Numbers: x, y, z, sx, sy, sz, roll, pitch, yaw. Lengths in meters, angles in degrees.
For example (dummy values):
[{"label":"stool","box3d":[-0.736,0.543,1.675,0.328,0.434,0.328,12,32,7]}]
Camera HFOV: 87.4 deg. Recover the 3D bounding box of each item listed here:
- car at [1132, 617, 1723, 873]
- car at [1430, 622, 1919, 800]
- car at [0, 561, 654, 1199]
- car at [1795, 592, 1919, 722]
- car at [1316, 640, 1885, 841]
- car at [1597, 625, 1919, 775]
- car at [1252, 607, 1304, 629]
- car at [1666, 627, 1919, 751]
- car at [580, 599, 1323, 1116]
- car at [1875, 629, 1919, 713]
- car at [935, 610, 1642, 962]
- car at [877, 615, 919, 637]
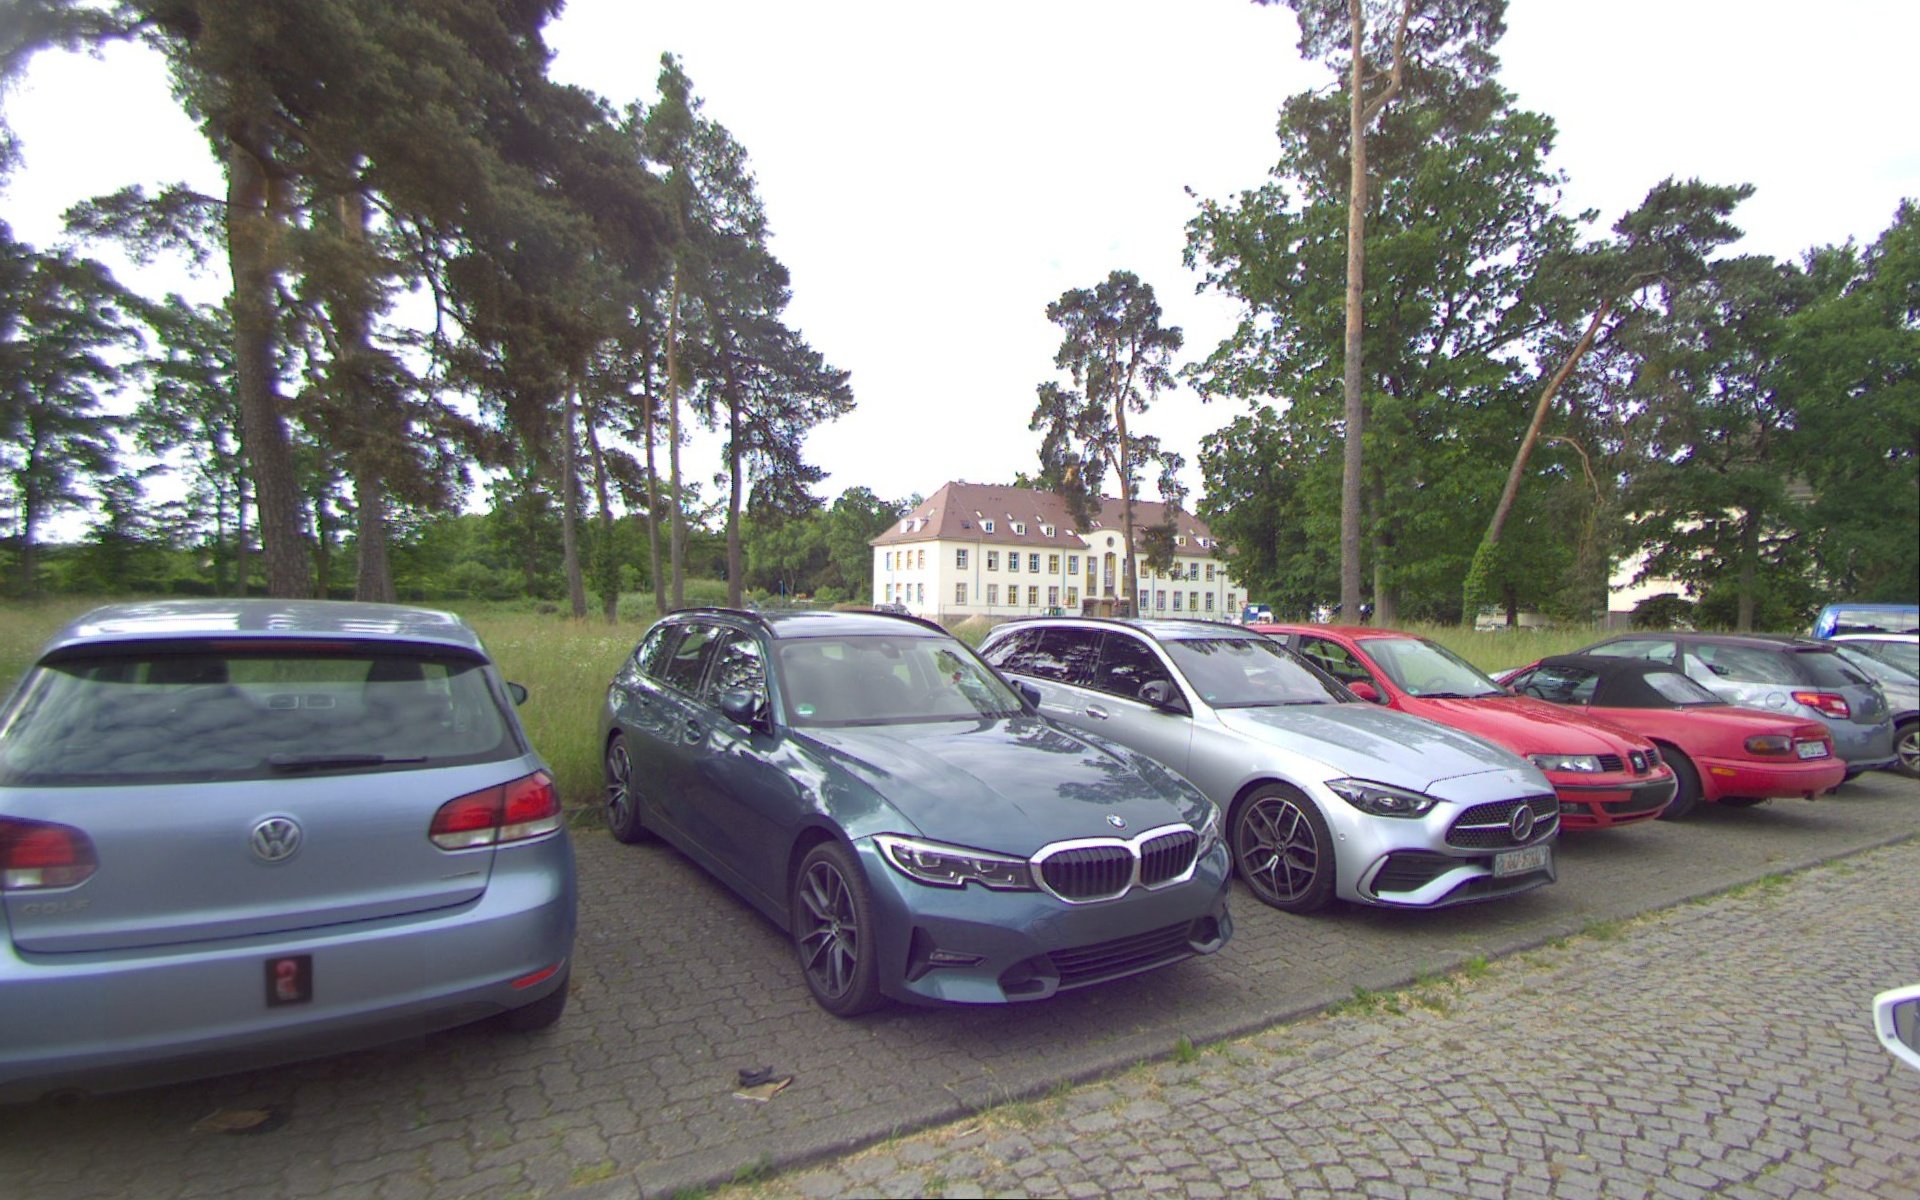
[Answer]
[{"label":"car","box3d":[3.524,0.927,8.361,1.844,1.496,4.143,1,-1,-32]},{"label":"car","box3d":[7.656,1.036,11.134,1.824,1.502,4.145,1,-1,-30]},{"label":"car","box3d":[-2.778,0.704,4.197,1.884,1.563,3.964,1,-1,-32]},{"label":"car","box3d":[17.140,0.958,16.585,2.092,2.150,4.755,1,-1,-32]},{"label":"car","box3d":[5.625,1.090,9.413,1.810,1.283,4.146,1,-1,-30]},{"label":"car","box3d":[10.336,1.102,12.095,1.842,1.511,4.147,1,-1,-30]},{"label":"car","box3d":[31.806,1.806,100.511,5.167,2.040,1.985,2,-1,-30]},{"label":"car","box3d":[12.562,1.182,14.037,1.824,1.517,4.048,1,-1,-30]},{"label":"car","box3d":[-0.479,0.798,5.347,1.916,1.568,4.222,1,-1,-35]},{"label":"car","box3d":[19.322,1.340,17.914,1.763,1.530,4.141,1,-1,-33]},{"label":"car","box3d":[1.785,0.866,6.841,1.915,1.527,4.348,1,-1,-33]},{"label":"car","box3d":[-6.618,2.735,107.326,1.983,2.229,4.982,1,0,-39]}]
